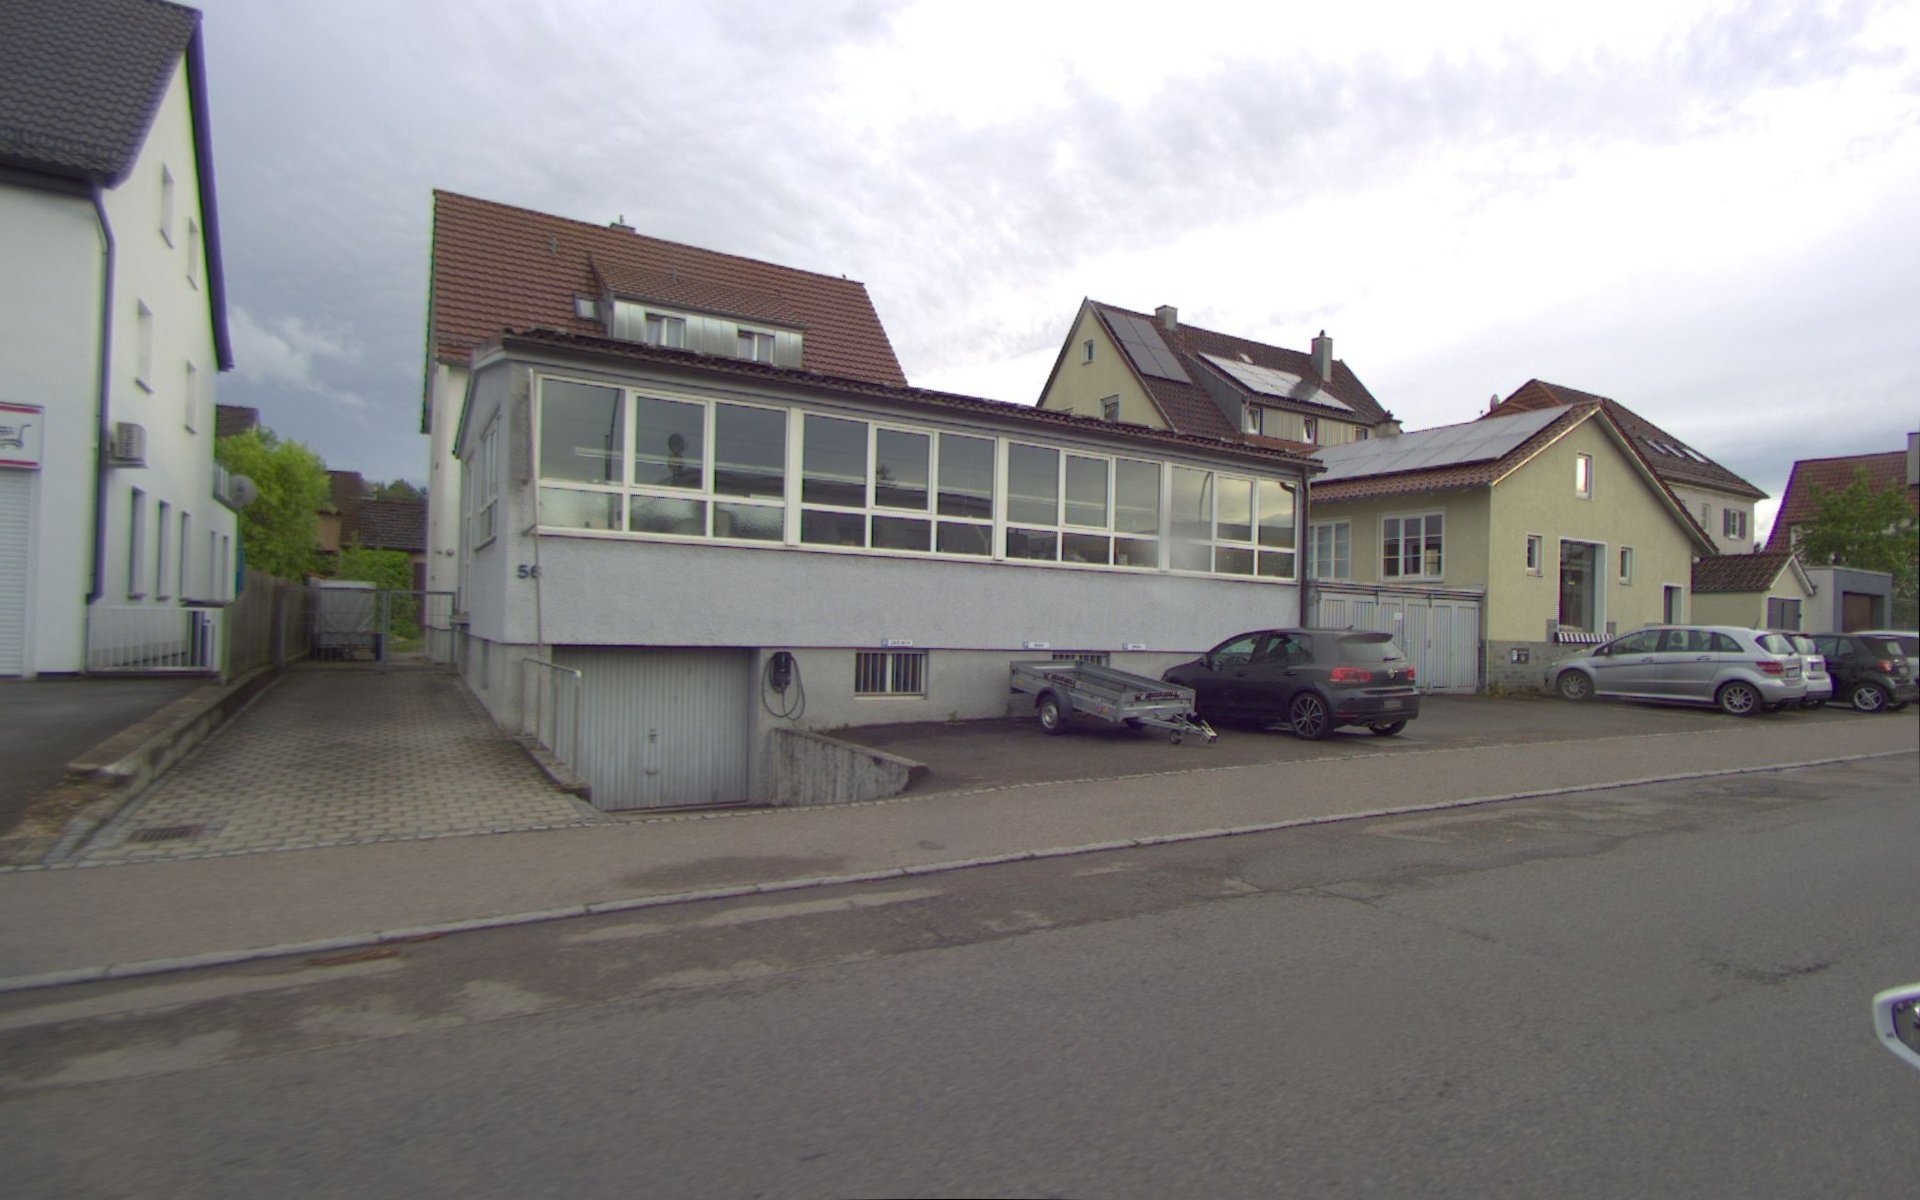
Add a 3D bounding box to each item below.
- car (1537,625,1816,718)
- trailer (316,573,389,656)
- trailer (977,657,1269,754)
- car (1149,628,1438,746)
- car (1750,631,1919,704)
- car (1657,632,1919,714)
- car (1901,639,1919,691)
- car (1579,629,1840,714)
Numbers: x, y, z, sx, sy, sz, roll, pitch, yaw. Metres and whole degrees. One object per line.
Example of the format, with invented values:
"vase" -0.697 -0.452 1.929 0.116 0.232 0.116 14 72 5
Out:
"car" 13.902 1.305 19.701 1.980 1.553 4.058 2 -1 -34
"trailer" -15.388 0.356 25.543 1.328 1.965 3.278 2 -1 -28
"trailer" 2.084 1.367 14.049 1.774 0.955 4.175 2 -1 -31
"car" 4.693 1.151 14.659 1.747 1.457 3.856 1 -2 -30
"car" 21.116 1.528 23.286 1.864 1.534 4.058 2 -1 -34
"car" 17.658 1.486 21.588 1.739 1.523 4.058 2 -1 -34
"car" 28.222 1.835 26.990 1.697 1.432 4.056 2 0 -36
"car" 15.642 1.421 21.175 1.794 1.553 4.061 1 -1 -32
